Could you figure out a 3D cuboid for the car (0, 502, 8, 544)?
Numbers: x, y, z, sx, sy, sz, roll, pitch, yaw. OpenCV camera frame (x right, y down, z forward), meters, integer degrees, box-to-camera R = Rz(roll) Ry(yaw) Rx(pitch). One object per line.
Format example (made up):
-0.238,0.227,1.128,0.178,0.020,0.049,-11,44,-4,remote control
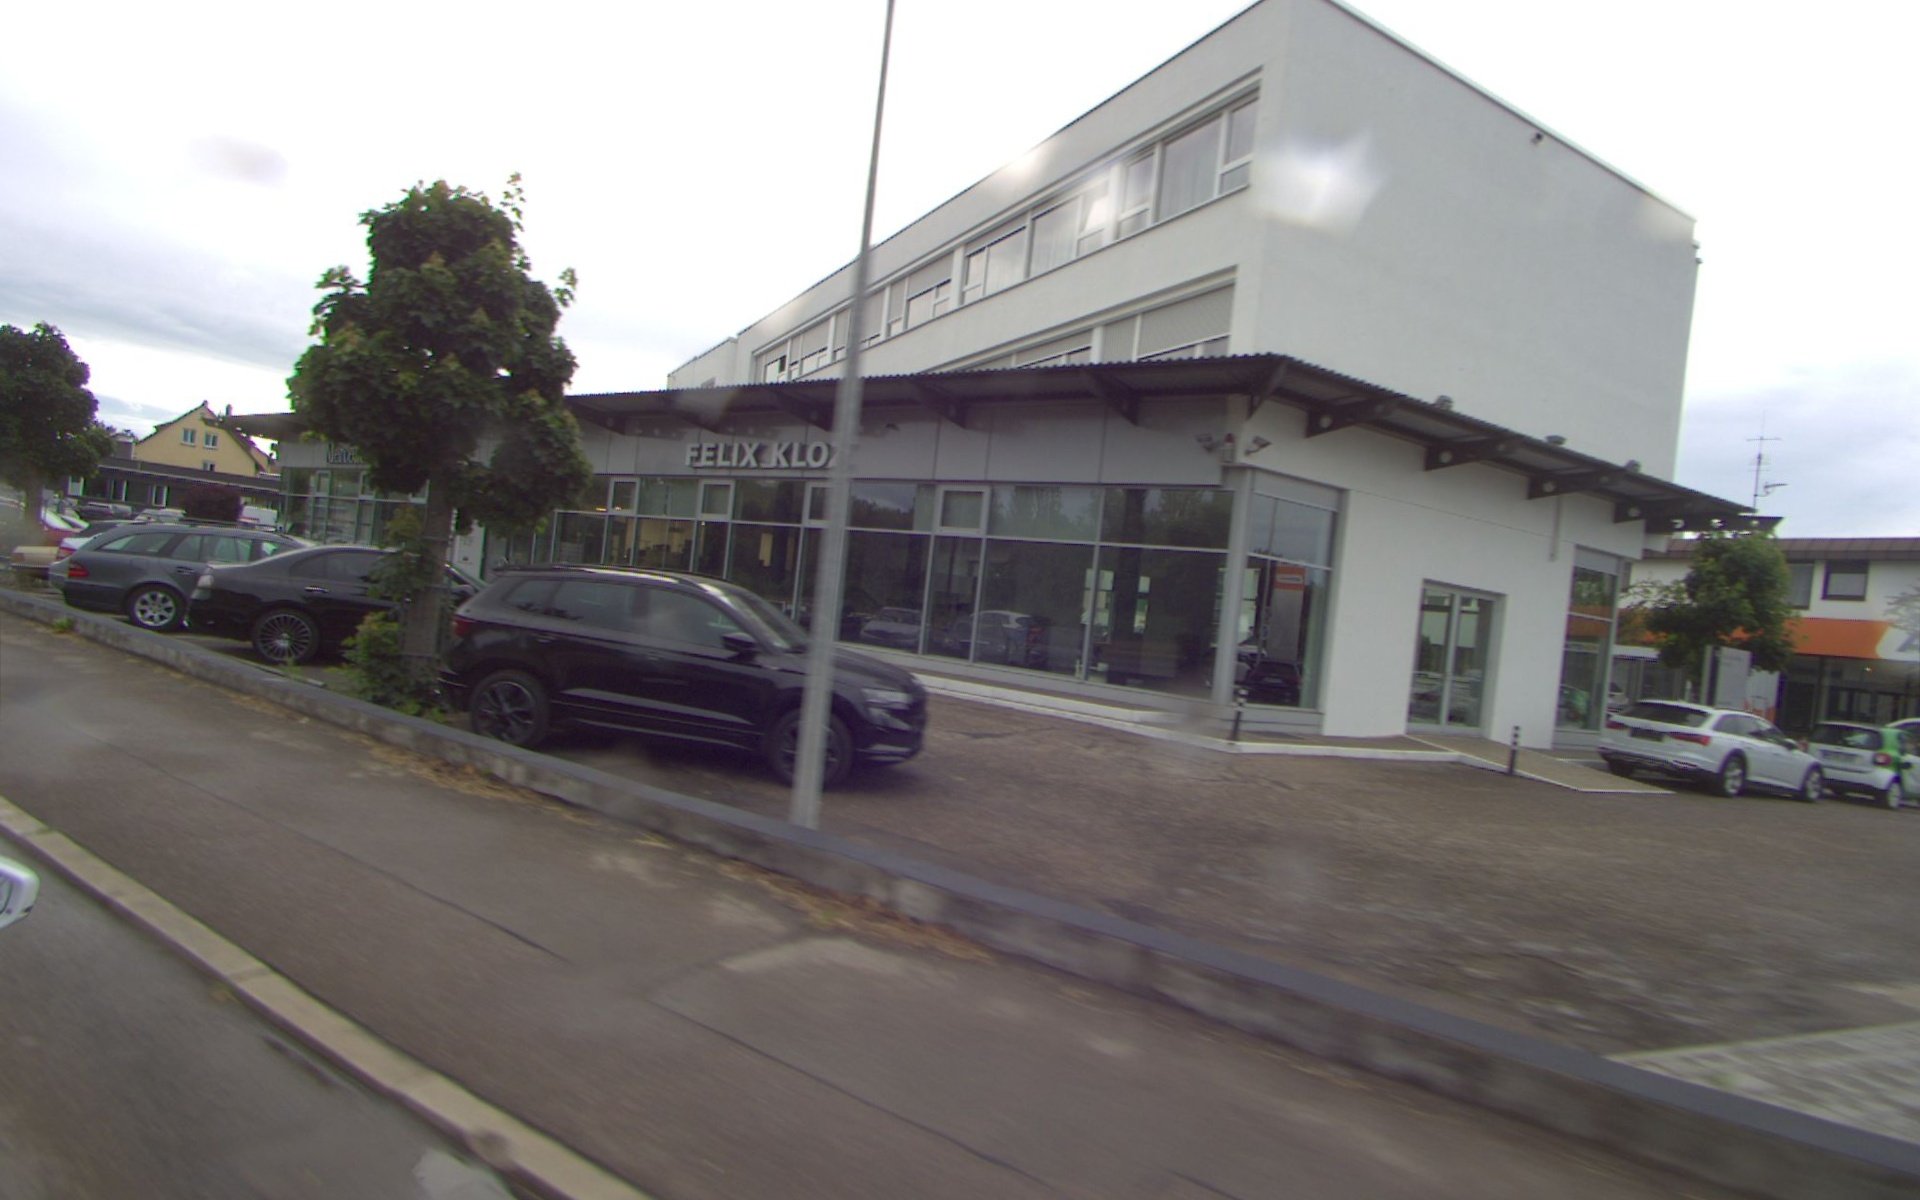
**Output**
-34.805,-2.984,33.615,1.569,1.423,3.994,5,-5,35,car

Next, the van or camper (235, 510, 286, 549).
-45.342,-4.521,65.319,1.980,1.959,5.393,10,-4,-29,van or camper

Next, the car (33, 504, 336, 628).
-13.901,-0.536,18.382,3.925,1.508,1.964,10,-4,-27,car

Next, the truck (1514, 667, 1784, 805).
22.244,4.291,32.905,2.545,3.450,6.605,9,-4,-29,truck

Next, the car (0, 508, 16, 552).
-32.977,-2.592,31.886,1.971,1.384,4.112,5,-5,38,car

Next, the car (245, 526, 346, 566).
-38.326,-3.095,58.156,4.601,1.415,1.709,10,-4,-28,car

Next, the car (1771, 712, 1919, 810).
18.719,3.314,20.487,3.955,1.497,1.985,8,0,-29,car

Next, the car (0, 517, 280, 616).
-16.091,-0.589,19.776,4.186,1.315,1.725,8,-3,-27,car

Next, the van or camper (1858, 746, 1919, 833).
26.022,5.120,25.813,1.791,2.064,3.968,8,-2,-32,van or camper

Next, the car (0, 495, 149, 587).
-22.083,-1.521,23.285,4.645,1.680,1.988,10,-4,-27,car

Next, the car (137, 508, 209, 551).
-35.958,-3.172,46.069,1.981,1.435,3.969,10,-4,-32,car

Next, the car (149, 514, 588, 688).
-7.200,0.056,12.814,4.388,1.497,1.923,8,-1,-25,car

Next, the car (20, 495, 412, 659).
-10.334,-0.239,14.394,3.946,1.572,1.892,9,-4,-20,car

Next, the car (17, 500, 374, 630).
-12.025,-0.502,16.209,4.118,1.485,1.828,7,-1,-23,car

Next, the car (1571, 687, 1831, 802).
13.191,2.576,17.878,4.362,1.460,1.985,8,0,-29,car

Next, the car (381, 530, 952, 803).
-2.443,0.541,9.123,4.464,1.628,1.842,8,0,3,car
